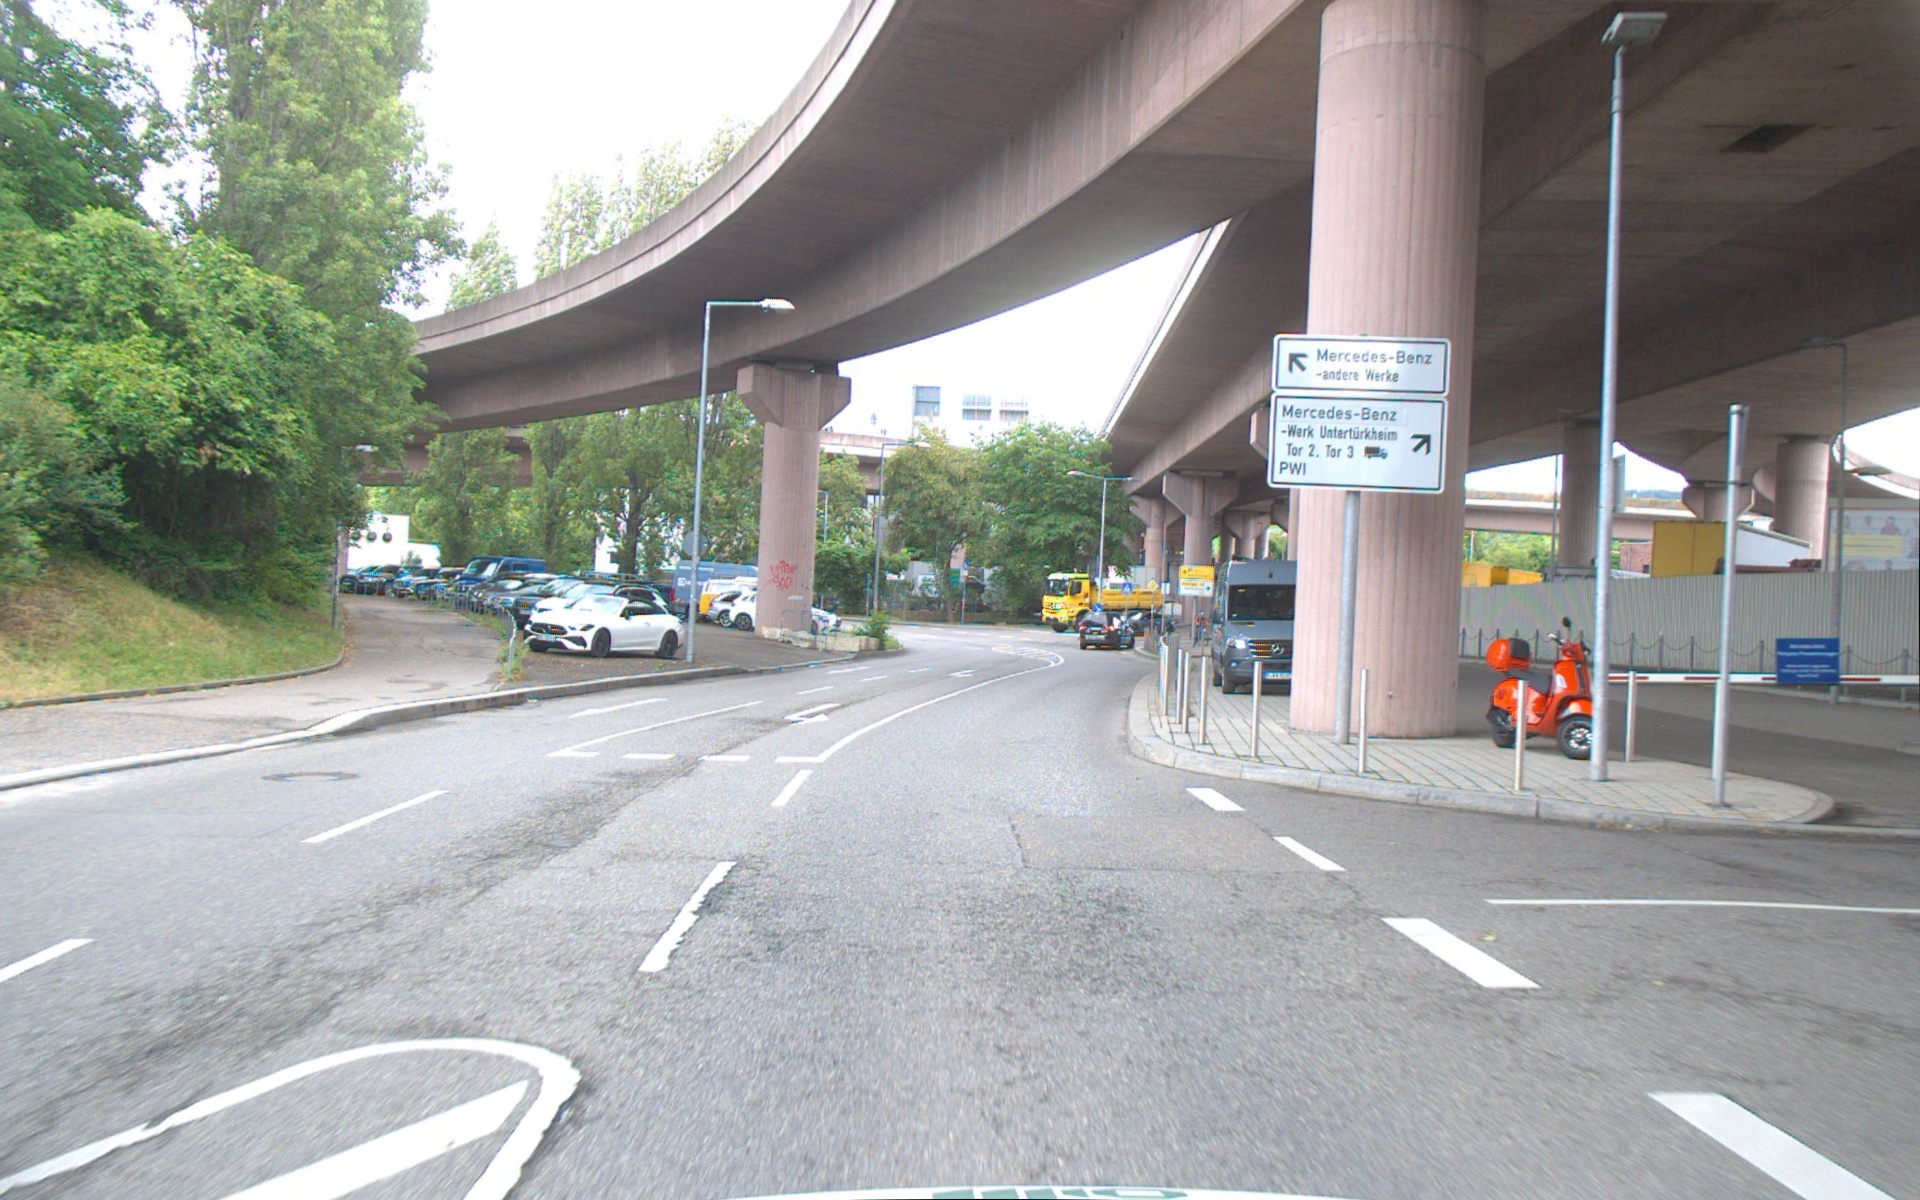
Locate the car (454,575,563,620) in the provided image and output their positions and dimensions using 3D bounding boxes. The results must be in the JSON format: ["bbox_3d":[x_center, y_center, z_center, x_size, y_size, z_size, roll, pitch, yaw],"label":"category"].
[{"bbox_3d":[-17.921,-0.097,65.755,1.858,1.705,4.149,1,0,27],"label":"car"}]

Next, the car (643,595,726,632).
[{"bbox_3d":[-13.506,0.659,81.191,3.914,1.770,2.016,1,0,-10],"label":"car"}]

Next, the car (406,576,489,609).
[{"bbox_3d":[-25.133,-0.368,81.228,1.752,1.500,3.885,1,0,24],"label":"car"}]

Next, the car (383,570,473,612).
[{"bbox_3d":[-26.809,-0.487,83.535,1.804,1.831,4.299,0,4,26],"label":"car"}]

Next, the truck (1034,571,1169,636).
[{"bbox_3d":[8.503,0.162,98.771,8.158,3.540,2.899,0,4,-38],"label":"truck"}]

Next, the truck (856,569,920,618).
[{"bbox_3d":[-6.097,-0.584,138.618,3.011,3.682,7.868,1,2,-21],"label":"truck"}]

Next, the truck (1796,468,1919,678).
[{"bbox_3d":[25.285,-0.601,43.888,3.092,5.010,9.665,1,0,42],"label":"truck"}]

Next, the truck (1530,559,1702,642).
[{"bbox_3d":[25.803,-0.002,64.803,3.095,2.995,8.655,-3,-1,45],"label":"truck"}]

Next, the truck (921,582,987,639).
[{"bbox_3d":[-0.494,0.763,122.351,3.017,4.033,6.889,1,-1,-17],"label":"truck"}]

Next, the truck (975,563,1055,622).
[{"bbox_3d":[3.826,-0.610,117.753,3.019,3.935,8.005,1,2,-19],"label":"truck"}]

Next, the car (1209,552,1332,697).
[{"bbox_3d":[6.206,0.459,33.685,1.951,2.659,6.078,1,0,6],"label":"car"}]

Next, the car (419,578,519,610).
[{"bbox_3d":[-23.240,-0.255,78.460,1.954,1.460,4.641,0,0,25],"label":"car"}]

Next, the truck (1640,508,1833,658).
[{"bbox_3d":[25.724,-0.454,54.495,3.092,4.521,9.665,0,-1,42],"label":"truck"}]

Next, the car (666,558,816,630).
[{"bbox_3d":[-9.509,-0.267,72.246,6.047,2.772,2.369,3,0,3],"label":"car"}]

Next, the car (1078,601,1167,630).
[{"bbox_3d":[9.218,0.889,93.882,4.878,1.528,2.146,1,0,-37],"label":"car"}]

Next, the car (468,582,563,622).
[{"bbox_3d":[-16.717,0.079,62.337,1.609,1.466,3.736,1,0,19],"label":"car"}]

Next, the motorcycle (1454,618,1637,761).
[{"bbox_3d":[6.243,0.918,17.782,0.783,1.390,2.121,1,0,-15],"label":"motorcycle"}]

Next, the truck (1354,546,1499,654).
[{"bbox_3d":[23.045,0.081,81.342,3.094,5.003,8.658,2,-1,44],"label":"truck"}]

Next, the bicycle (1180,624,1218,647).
[{"bbox_3d":[12.016,1.760,83.127,0.793,1.117,2.111,1,0,-28],"label":"bicycle"}]

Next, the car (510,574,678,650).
[{"bbox_3d":[-9.421,0.346,42.938,1.954,1.609,4.398,6,0,23],"label":"car"}]

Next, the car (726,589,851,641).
[{"bbox_3d":[-6.597,0.567,63.659,4.289,1.633,1.956,4,0,15],"label":"car"}]

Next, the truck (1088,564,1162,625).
[{"bbox_3d":[12.653,-0.487,127.489,3.014,4.374,8.018,1,2,-15],"label":"truck"}]

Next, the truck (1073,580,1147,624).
[{"bbox_3d":[10.850,0.085,120.235,2.871,2.949,6.523,1,2,-19],"label":"truck"}]

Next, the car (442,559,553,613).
[{"bbox_3d":[-20.404,-0.576,73.204,2.074,2.294,5.017,1,0,22],"label":"car"}]

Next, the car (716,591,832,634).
[{"bbox_3d":[-7.484,0.505,66.629,4.155,1.395,2.002,4,0,12],"label":"car"}]

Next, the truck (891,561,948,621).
[{"bbox_3d":[-3.573,-0.851,142.184,3.149,4.863,8.020,1,2,-14],"label":"truck"}]

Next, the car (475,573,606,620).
[{"bbox_3d":[-15.083,-0.102,59.742,1.821,1.513,4.885,4,1,25],"label":"car"}]

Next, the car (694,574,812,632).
[{"bbox_3d":[-8.665,0.139,69.256,4.459,2.148,1.852,3,0,10],"label":"car"}]

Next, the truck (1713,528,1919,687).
[{"bbox_3d":[25.420,0.260,48.710,2.849,4.257,9.998,0,-1,43],"label":"truck"}]

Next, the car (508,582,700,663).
[{"bbox_3d":[-8.298,0.574,39.050,1.954,1.505,4.827,6,-1,22],"label":"car"}]

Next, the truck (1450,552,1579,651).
[{"bbox_3d":[29.697,0.141,88.359,3.094,4.989,8.658,2,-1,44],"label":"truck"}]

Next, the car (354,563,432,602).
[{"bbox_3d":[-30.236,-0.905,88.264,1.619,1.741,4.083,5,-1,20],"label":"car"}]

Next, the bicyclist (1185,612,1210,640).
[{"bbox_3d":[11.957,1.301,83.245,0.787,1.430,1.056,1,-1,-29],"label":"bicyclist"}]

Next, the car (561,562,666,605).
[{"bbox_3d":[-18.535,-0.883,88.712,4.982,2.108,2.260,2,-2,6],"label":"car"}]

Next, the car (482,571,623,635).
[{"bbox_3d":[-12.051,0.107,49.183,1.820,1.721,4.160,2,-1,25],"label":"car"}]

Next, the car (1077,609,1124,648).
[{"bbox_3d":[6.554,1.302,76.904,1.951,1.708,4.563,3,0,7],"label":"car"}]
